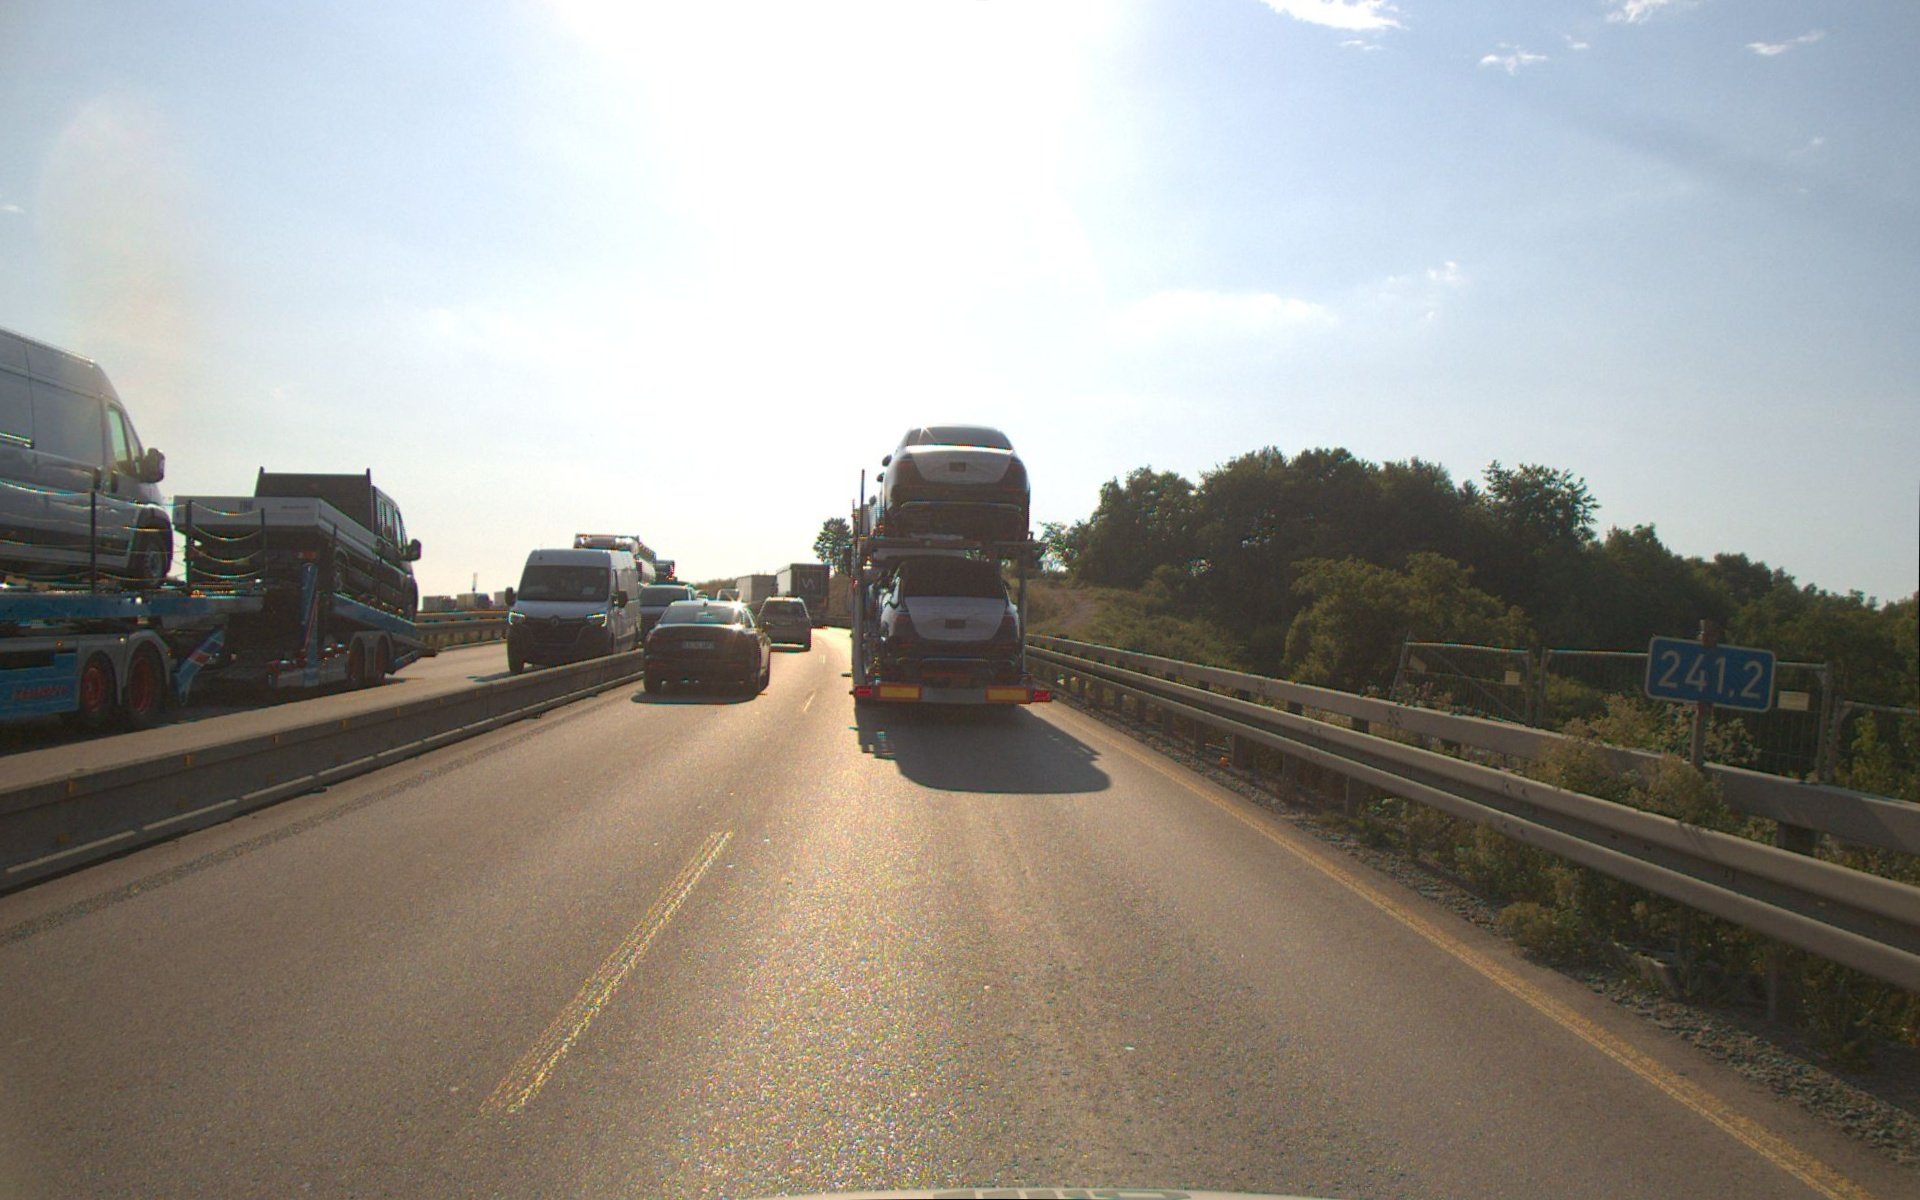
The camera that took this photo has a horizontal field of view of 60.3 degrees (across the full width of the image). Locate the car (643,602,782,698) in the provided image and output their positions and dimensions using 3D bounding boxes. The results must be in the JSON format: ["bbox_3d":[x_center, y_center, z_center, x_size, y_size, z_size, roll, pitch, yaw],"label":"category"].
[{"bbox_3d":[-4.067,0.774,27.873,1.896,1.423,4.957,0,0,-4],"label":"car"}]

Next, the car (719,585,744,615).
[{"bbox_3d":[-19.291,-0.004,139.705,1.883,2.536,5.402,0,0,-5],"label":"car"}]

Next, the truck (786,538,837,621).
[{"bbox_3d":[-10.076,-1.324,112.077,3.222,5.328,9.924,0,0,-5],"label":"truck"}]

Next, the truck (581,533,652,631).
[{"bbox_3d":[-14.046,-0.680,68.253,2.270,3.670,11.947,0,0,-9],"label":"truck"}]

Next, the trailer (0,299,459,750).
[{"bbox_3d":[-10.006,-0.656,22.054,2.641,3.940,15.383,0,0,-3],"label":"trailer"}]

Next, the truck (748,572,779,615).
[{"bbox_3d":[-17.414,-0.553,146.593,2.481,3.712,8.895,0,0,-5],"label":"truck"}]

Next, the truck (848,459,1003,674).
[{"bbox_3d":[-0.932,-0.589,34.759,2.782,3.858,9.979,0,0,-4],"label":"truck"}]

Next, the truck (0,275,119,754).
[{"bbox_3d":[-9.478,-0.738,13.441,2.453,4.137,5.881,0,0,-2],"label":"truck"}]

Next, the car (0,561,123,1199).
[{"bbox_3d":[-2.868,0.663,1.873,1.720,1.498,4.351,0,0,-2],"label":"car"}]

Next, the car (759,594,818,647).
[{"bbox_3d":[-5.383,0.629,52.284,1.658,1.624,3.997,0,0,-3],"label":"car"}]

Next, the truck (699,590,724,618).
[{"bbox_3d":[-29.295,0.458,195.441,2.540,3.226,6.669,0,0,-5],"label":"truck"}]

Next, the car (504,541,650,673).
[{"bbox_3d":[-7.897,0.133,34.668,2.063,2.525,6.061,0,0,-4],"label":"car"}]

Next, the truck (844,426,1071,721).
[{"bbox_3d":[-0.311,-0.313,25.320,2.743,3.558,10.598,0,0,-3],"label":"truck"}]
